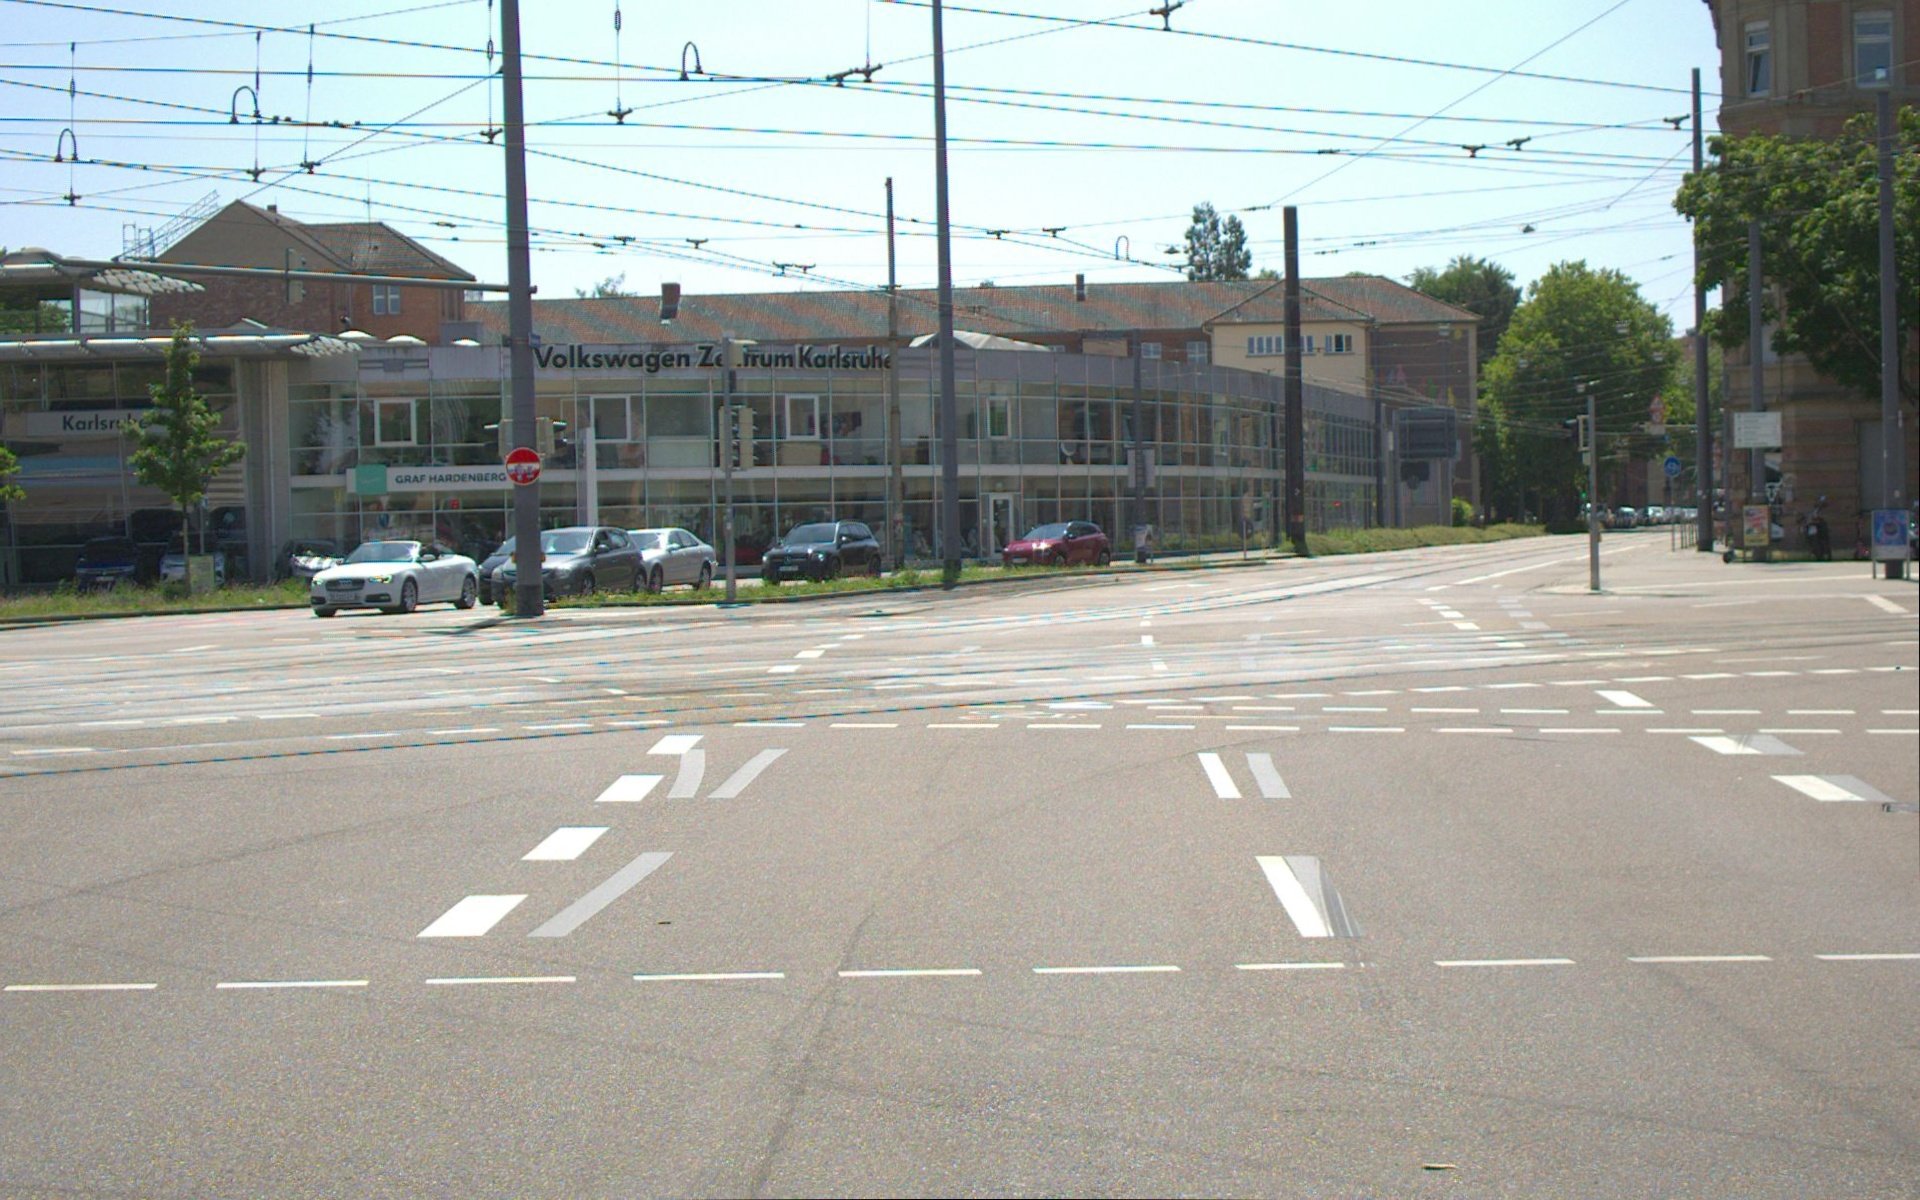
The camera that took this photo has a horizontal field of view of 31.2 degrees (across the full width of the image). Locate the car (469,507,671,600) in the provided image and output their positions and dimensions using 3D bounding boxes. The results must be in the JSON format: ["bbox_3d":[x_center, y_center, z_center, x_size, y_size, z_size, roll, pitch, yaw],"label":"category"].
[{"bbox_3d":[-7.262,-0.899,64.568,1.995,1.631,4.843,-1,1,17],"label":"car"}]

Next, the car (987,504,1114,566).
[{"bbox_3d":[2.723,-1.936,102.754,1.997,1.769,3.992,1,0,33],"label":"car"}]

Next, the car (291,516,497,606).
[{"bbox_3d":[-10.509,-0.754,64.258,2.078,1.574,4.844,-1,1,13],"label":"car"}]

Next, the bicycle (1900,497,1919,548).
[{"bbox_3d":[22.150,-1.787,79.566,0.442,1.142,2.093,1,0,6],"label":"bicycle"}]

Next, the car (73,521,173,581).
[{"bbox_3d":[-24.339,-1.418,100.063,1.920,1.701,4.000,1,0,0],"label":"car"}]

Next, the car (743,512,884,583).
[{"bbox_3d":[-3.668,-1.348,86.929,2.080,1.677,4.843,-1,1,17],"label":"car"}]

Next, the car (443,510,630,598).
[{"bbox_3d":[-8.613,-0.966,70.396,1.995,1.694,4.843,-1,1,17],"label":"car"}]

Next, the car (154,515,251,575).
[{"bbox_3d":[-22.031,-1.583,100.106,1.920,1.701,4.000,1,0,0],"label":"car"}]

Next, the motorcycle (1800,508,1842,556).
[{"bbox_3d":[19.792,-1.567,79.067,0.580,1.071,1.946,-1,1,3],"label":"motorcycle"}]

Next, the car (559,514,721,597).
[{"bbox_3d":[-7.057,-1.019,76.339,1.995,1.733,4.540,-1,1,17],"label":"car"}]

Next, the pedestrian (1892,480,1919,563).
[{"bbox_3d":[19.677,-1.627,71.084,0.461,1.702,0.640,-2,1,-24],"label":"pedestrian"}]
